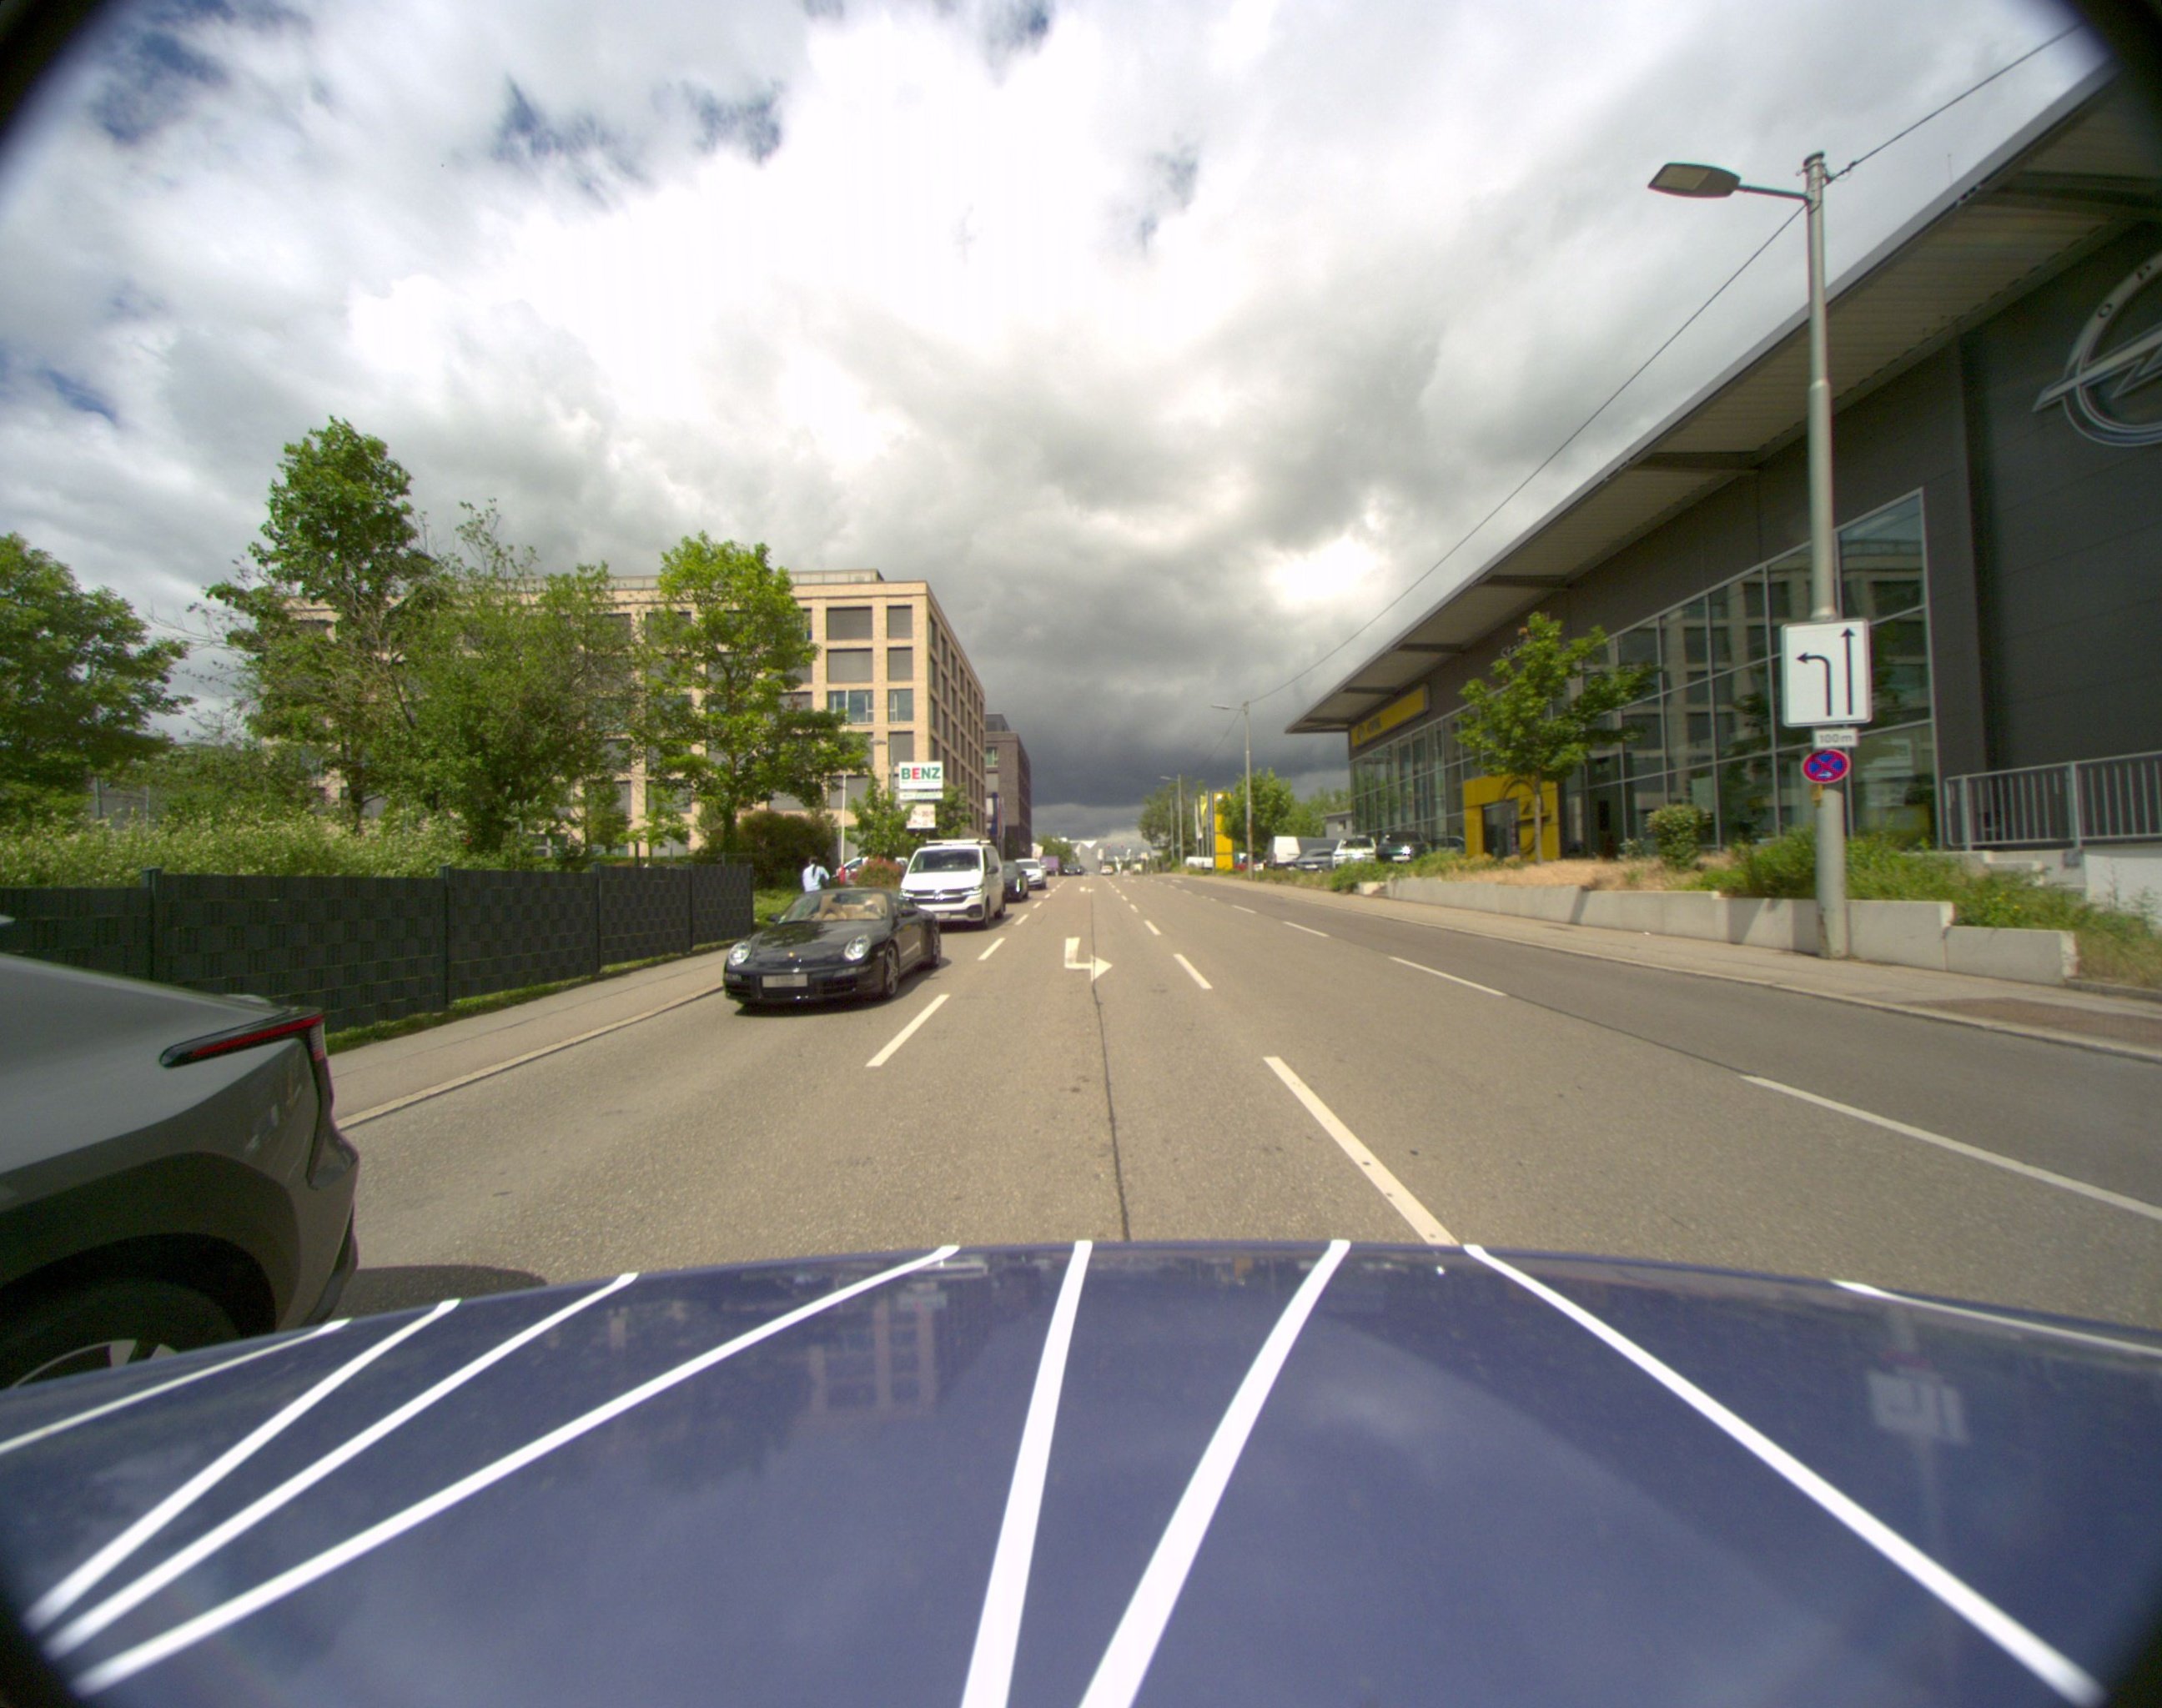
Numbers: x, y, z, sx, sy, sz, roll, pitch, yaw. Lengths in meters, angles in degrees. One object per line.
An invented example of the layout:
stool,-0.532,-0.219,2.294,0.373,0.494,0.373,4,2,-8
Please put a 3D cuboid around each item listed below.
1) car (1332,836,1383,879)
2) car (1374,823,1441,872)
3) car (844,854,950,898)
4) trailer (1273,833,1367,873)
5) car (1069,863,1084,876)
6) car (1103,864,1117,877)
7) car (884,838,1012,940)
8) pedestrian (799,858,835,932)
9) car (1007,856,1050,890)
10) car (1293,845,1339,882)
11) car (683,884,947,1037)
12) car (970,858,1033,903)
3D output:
car,12.173,0.128,33.435,1.995,1.783,4.006,-1,0,21
car,12.340,-0.253,28.925,1.996,1.718,4.005,-1,0,18
car,-7.628,0.906,31.790,3.998,1.723,1.822,-1,1,-3
trailer,14.457,-0.069,46.168,5.074,2.336,2.000,-1,1,-1
car,-0.484,1.738,85.289,1.662,1.351,4.000,-1,0,1
car,4.496,2.521,117.130,1.998,1.731,4.547,-2,0,1
car,-2.982,0.723,18.190,2.089,2.037,4.760,-2,0,1
pedestrian,-6.015,0.921,17.297,0.632,1.648,0.443,-1,1,-1
car,-2.588,0.897,38.424,1.818,1.577,4.000,-1,0,1
car,12.112,0.468,39.009,1.995,1.783,4.006,-1,0,21
car,-3.010,1.145,9.617,1.824,1.286,4.038,-2,0,1
car,-2.825,0.914,27.884,1.818,1.454,4.000,-1,0,1
